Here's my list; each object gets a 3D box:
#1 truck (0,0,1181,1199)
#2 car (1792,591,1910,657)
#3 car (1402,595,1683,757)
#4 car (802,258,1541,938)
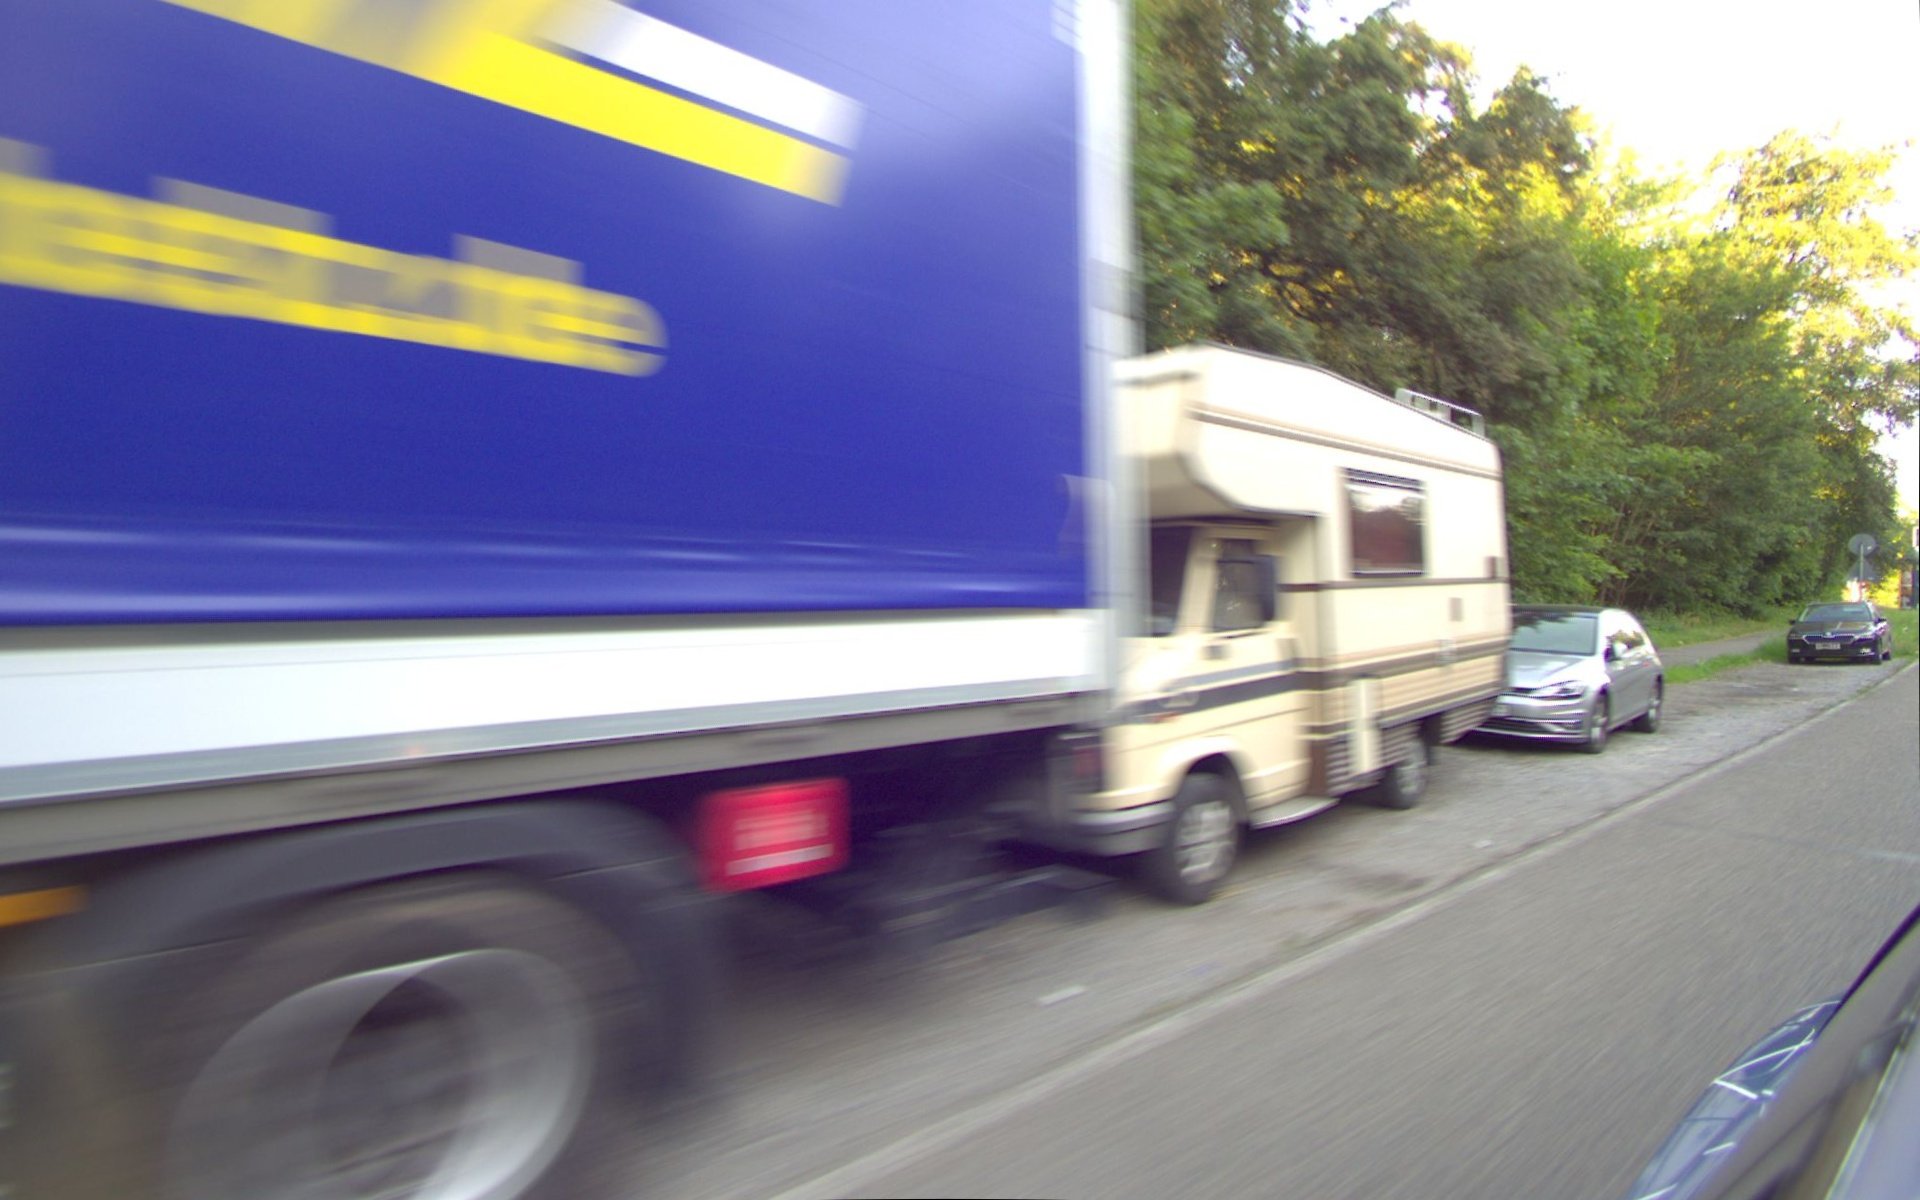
[{"bbox_3d":[-3.692,-0.598,1.418,9.552,4.078,2.662,0,1,-41],"label":"truck"},{"bbox_3d":[21.189,0.528,24.029,3.875,1.423,1.665,-1,-1,-42],"label":"car"},{"bbox_3d":[6.612,0.692,11.308,4.009,1.423,1.700,-1,2,-44],"label":"car"},{"bbox_3d":[1.958,-0.053,7.244,2.409,2.894,5.837,0,1,45],"label":"car"}]
